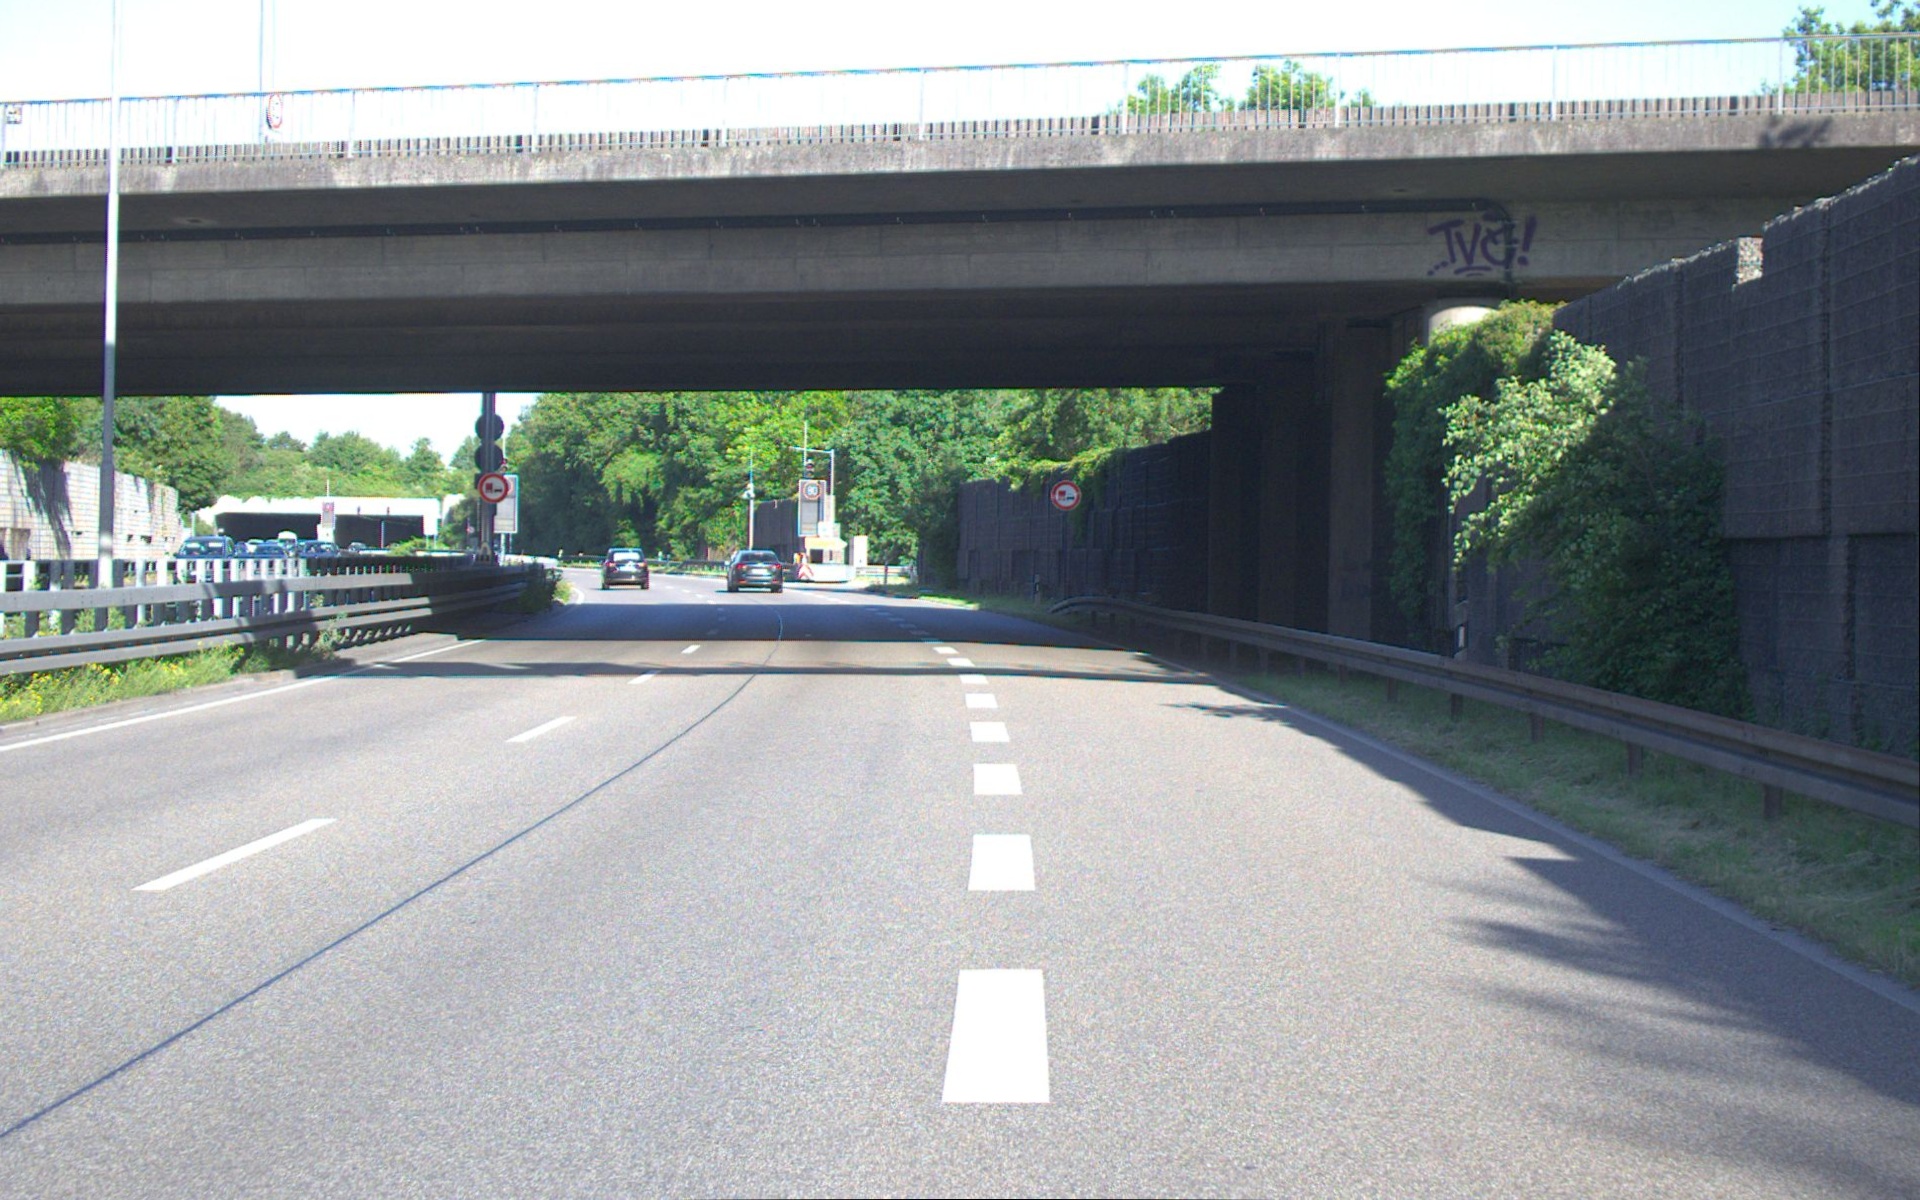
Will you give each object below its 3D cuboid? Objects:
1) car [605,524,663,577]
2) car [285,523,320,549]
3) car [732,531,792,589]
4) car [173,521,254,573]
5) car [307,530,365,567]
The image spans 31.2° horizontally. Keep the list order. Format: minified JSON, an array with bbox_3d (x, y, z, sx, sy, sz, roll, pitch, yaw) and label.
[{"bbox_3d":[-12.387,-1.904,130.786,1.993,1.919,4.001,2,1,-3],"label":"car"},{"bbox_3d":[-43.760,-4.283,228.720,1.897,1.568,4.809,3,1,-7],"label":"car"},{"bbox_3d":[-6.940,-1.419,120.558,1.993,1.919,4.001,2,1,-3],"label":"car"},{"bbox_3d":[-25.337,-1.818,116.833,1.993,1.700,4.562,0,1,-3],"label":"car"},{"bbox_3d":[-27.936,-2.304,154.037,1.993,1.590,4.428,1,1,-3],"label":"car"}]
